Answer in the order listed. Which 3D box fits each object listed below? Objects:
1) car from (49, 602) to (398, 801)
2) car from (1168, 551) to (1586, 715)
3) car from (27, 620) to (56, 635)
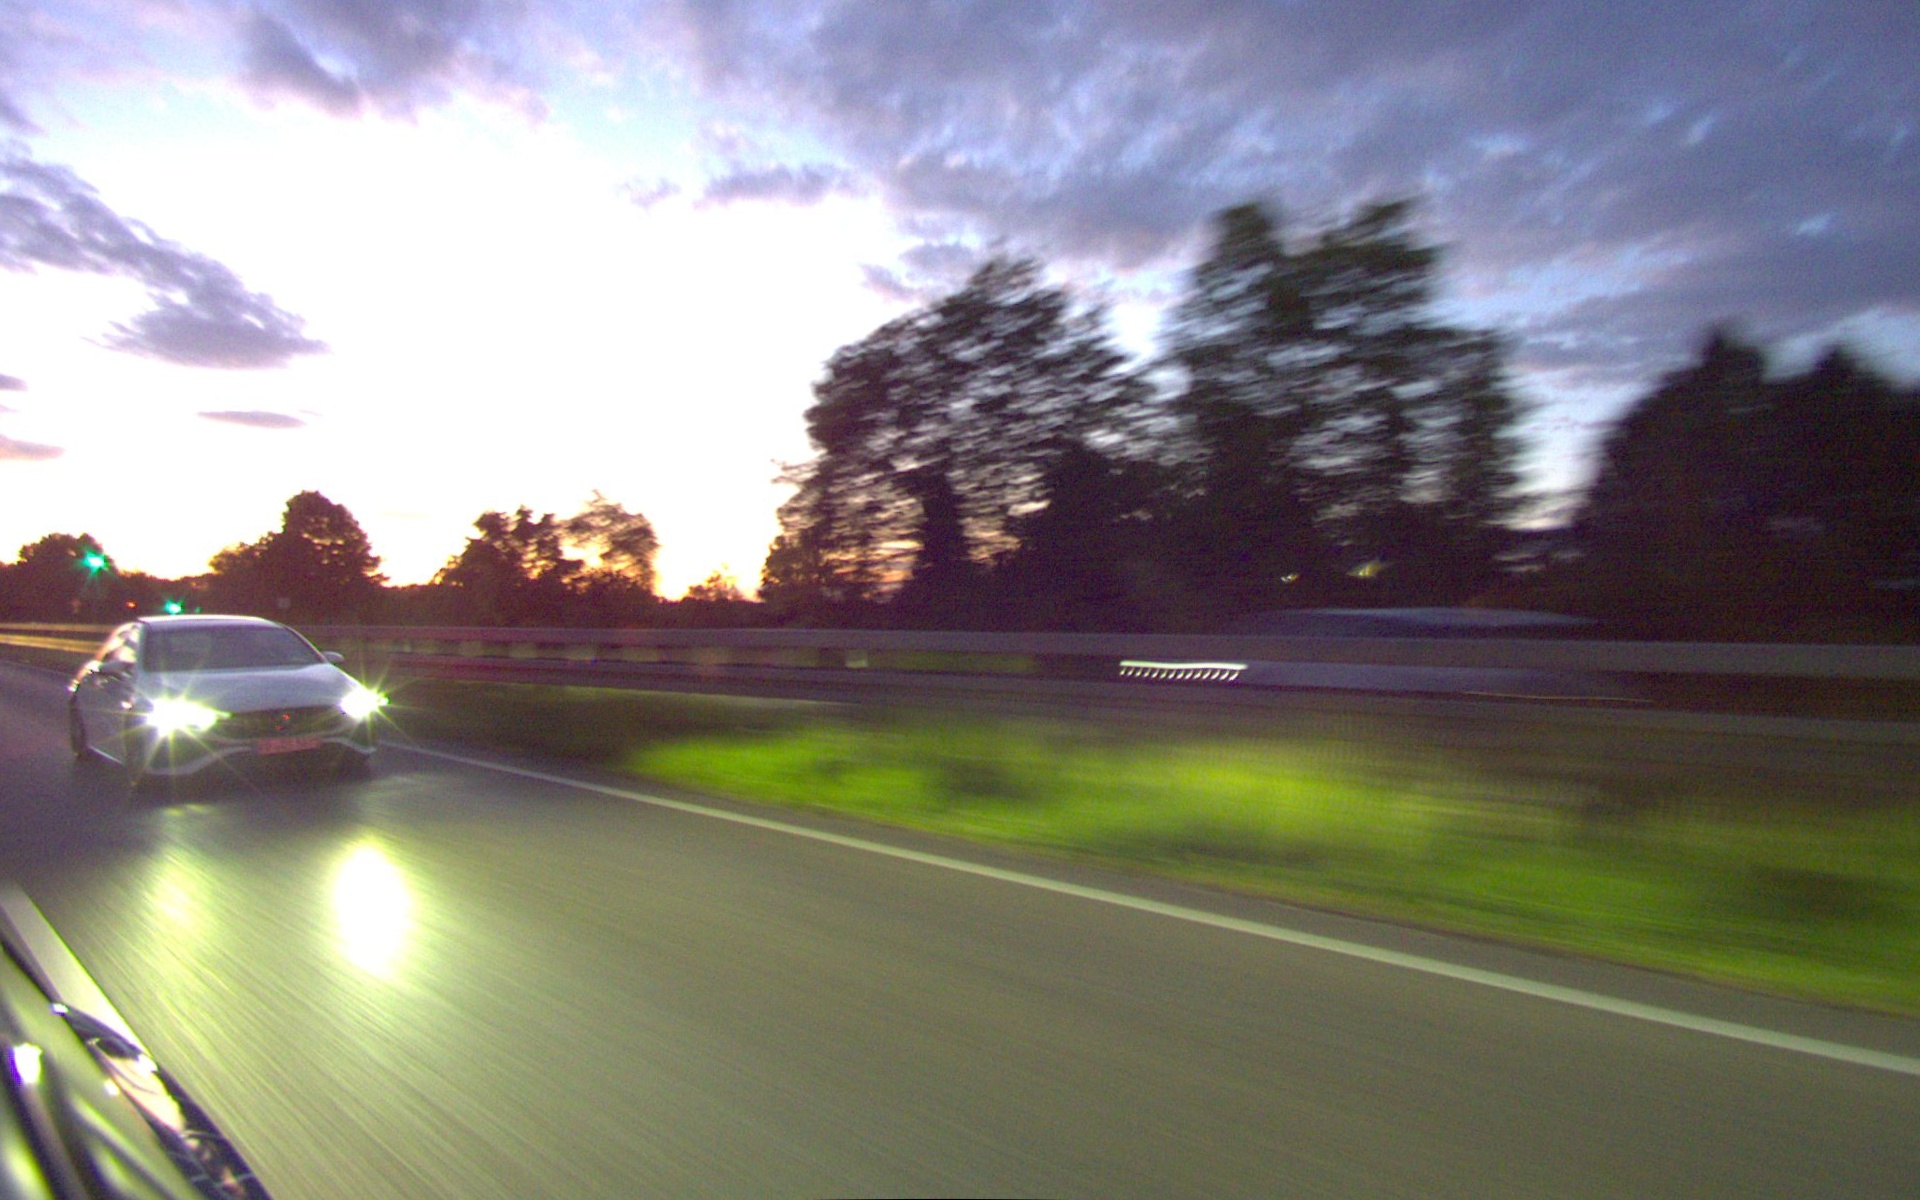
[{"bbox_3d":[-7.377,0.842,9.935,4.644,1.447,1.796,-2,0,42],"label":"car"},{"bbox_3d":[4.516,0.319,11.287,3.997,1.516,1.638,-1,0,40],"label":"car"},{"bbox_3d":[-90.590,2.728,99.775,4.027,1.395,1.635,-1,1,40],"label":"car"}]
